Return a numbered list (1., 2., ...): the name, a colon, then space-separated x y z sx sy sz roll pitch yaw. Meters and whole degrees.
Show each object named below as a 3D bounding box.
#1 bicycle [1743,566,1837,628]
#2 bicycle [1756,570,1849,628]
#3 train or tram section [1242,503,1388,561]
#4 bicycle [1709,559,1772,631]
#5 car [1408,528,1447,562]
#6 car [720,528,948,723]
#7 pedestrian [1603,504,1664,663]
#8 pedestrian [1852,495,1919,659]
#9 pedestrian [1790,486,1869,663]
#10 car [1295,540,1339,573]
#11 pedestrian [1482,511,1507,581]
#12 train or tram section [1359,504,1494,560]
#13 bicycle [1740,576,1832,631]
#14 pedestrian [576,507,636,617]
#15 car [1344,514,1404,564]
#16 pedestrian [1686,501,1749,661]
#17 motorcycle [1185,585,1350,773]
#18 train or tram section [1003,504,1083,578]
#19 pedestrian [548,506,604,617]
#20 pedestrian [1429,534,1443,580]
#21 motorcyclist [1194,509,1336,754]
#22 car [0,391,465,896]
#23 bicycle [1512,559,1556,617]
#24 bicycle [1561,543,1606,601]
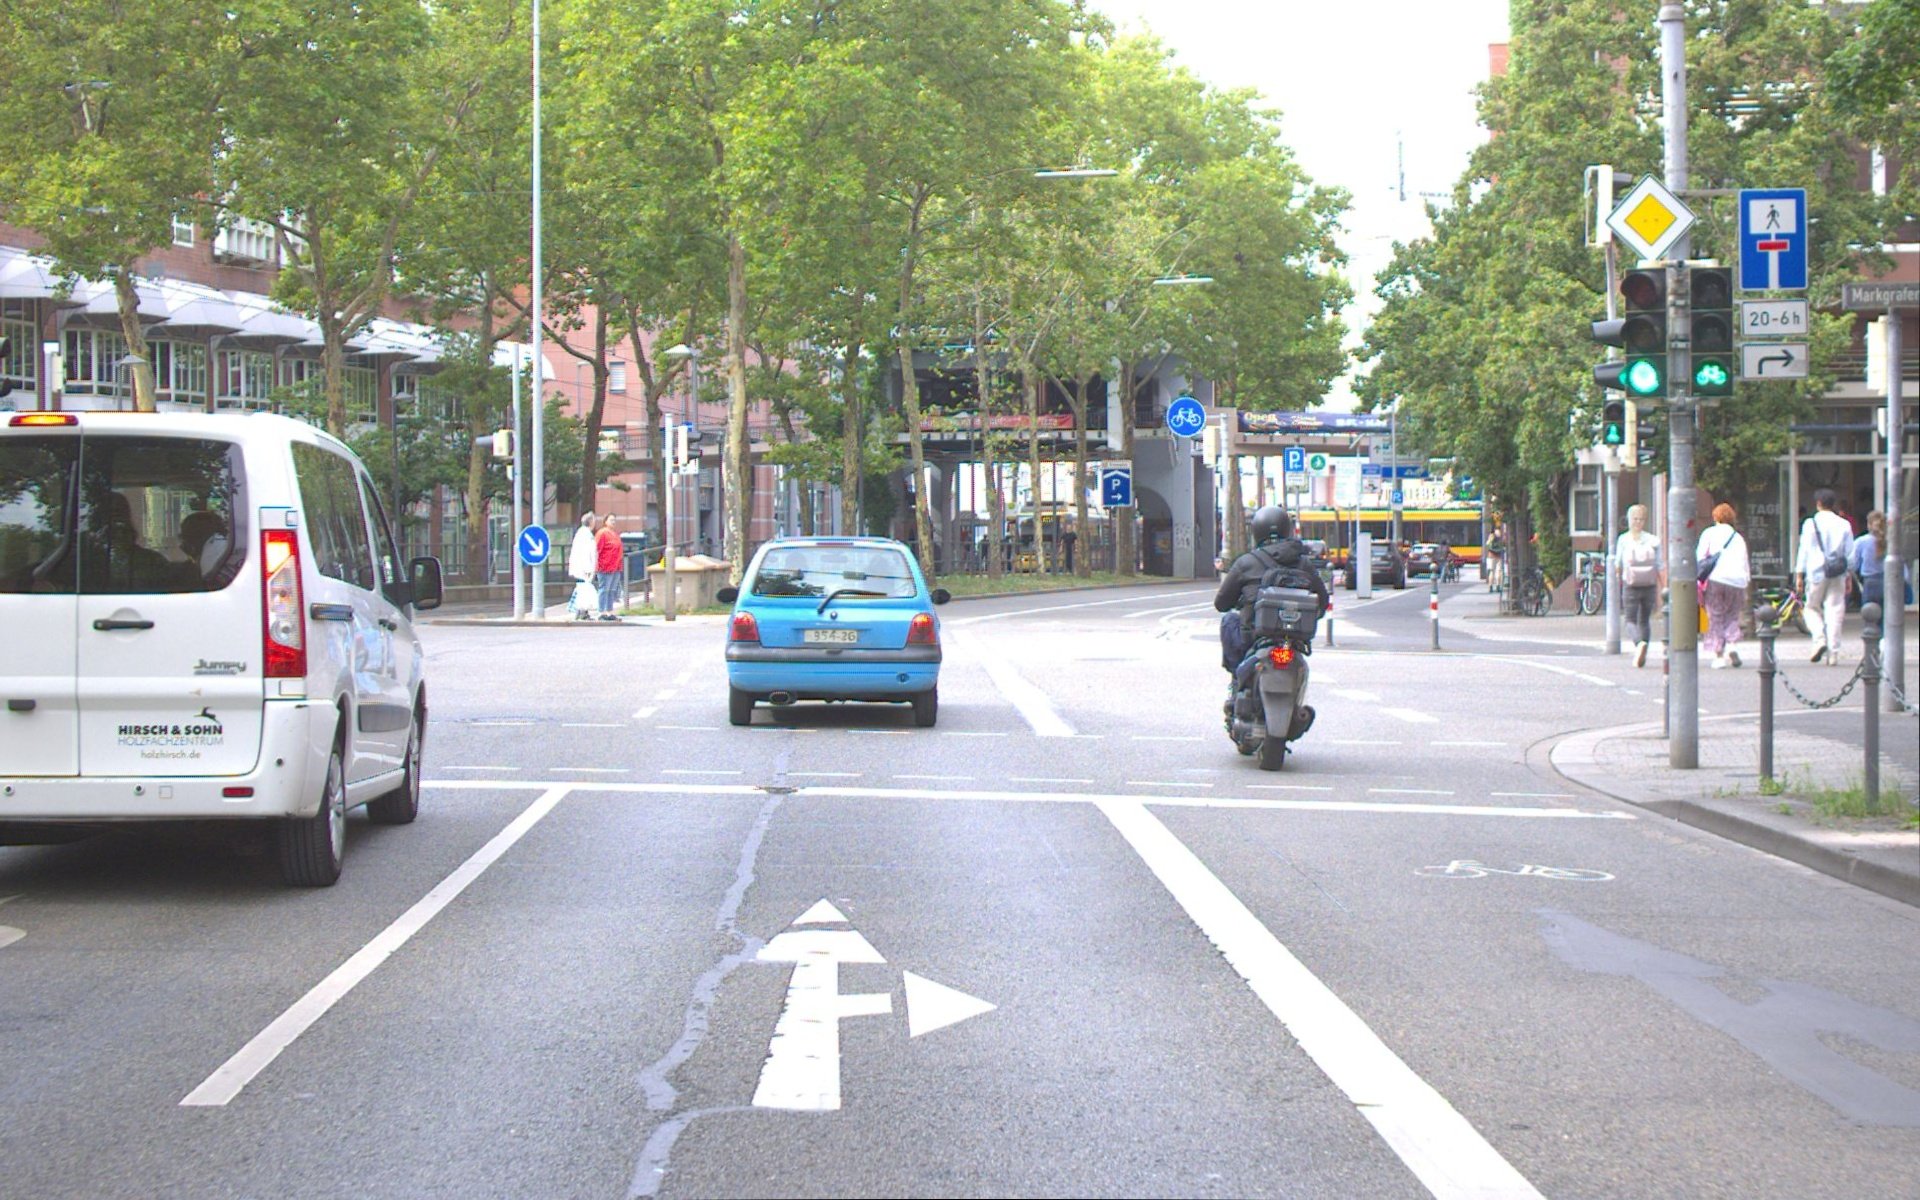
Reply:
1. bicycle: 12.515 -0.044 51.846 1.300 0.865 0.453 -3 0 21
2. bicycle: 12.425 -0.019 50.699 1.299 0.835 0.453 0 1 17
3. train or tram section: 20.324 -3.890 196.774 8.790 3.242 2.397 -1 1 -34
4. bicycle: 11.231 -0.075 49.507 0.617 1.005 1.735 0 1 3
5. car: 22.844 -2.692 168.005 1.699 1.596 3.998 0 1 11
6. car: -0.943 0.145 26.736 1.640 1.381 3.843 0 1 -1
7. pedestrian: 6.889 -0.174 35.186 0.517 1.610 0.851 0 1 4
8. pedestrian: 9.736 -0.245 35.972 0.652 1.695 1.022 0 1 7
9. pedestrian: 9.034 -0.272 35.734 0.676 1.822 0.850 0 1 5
10. car: 17.903 -2.179 172.240 1.887 1.618 3.998 0 1 11
11. pedestrian: 14.232 -1.443 91.557 0.647 1.852 0.782 0 1 9
12. train or tram section: 27.357 -3.979 201.509 8.333 3.242 2.397 -1 1 -34
13. bicycle: 12.327 0.045 51.309 1.300 0.811 0.444 0 1 21
14. pedestrian: -5.585 -0.605 54.234 0.553 1.712 0.889 0 1 25
15. car: 13.492 -2.003 111.929 1.699 1.596 3.998 0 1 11
16. pedestrian: 7.722 -0.202 35.062 0.517 1.610 0.850 0 1 5
17. motorcycle: 1.931 0.475 21.907 0.767 1.103 2.208 -1 1 -2
18. train or tram section: 3.839 -2.678 156.754 2.390 3.242 8.815 0 1 9
19. pedestrian: -5.961 -0.598 53.391 0.553 1.712 0.890 0 1 16
20. pedestrian: 18.134 -1.648 130.893 0.510 1.753 0.539 0 1 10
21. motorcyclist: 1.931 0.187 21.855 0.759 1.514 1.018 -1 1 -2
22. car: -3.517 0.098 15.575 1.931 1.919 4.956 0 2 -1
23. bicycle: 10.206 -0.217 61.173 0.617 1.005 1.735 0 1 4
24. bicycle: 11.076 -0.508 61.088 0.617 1.005 1.735 0 1 4
